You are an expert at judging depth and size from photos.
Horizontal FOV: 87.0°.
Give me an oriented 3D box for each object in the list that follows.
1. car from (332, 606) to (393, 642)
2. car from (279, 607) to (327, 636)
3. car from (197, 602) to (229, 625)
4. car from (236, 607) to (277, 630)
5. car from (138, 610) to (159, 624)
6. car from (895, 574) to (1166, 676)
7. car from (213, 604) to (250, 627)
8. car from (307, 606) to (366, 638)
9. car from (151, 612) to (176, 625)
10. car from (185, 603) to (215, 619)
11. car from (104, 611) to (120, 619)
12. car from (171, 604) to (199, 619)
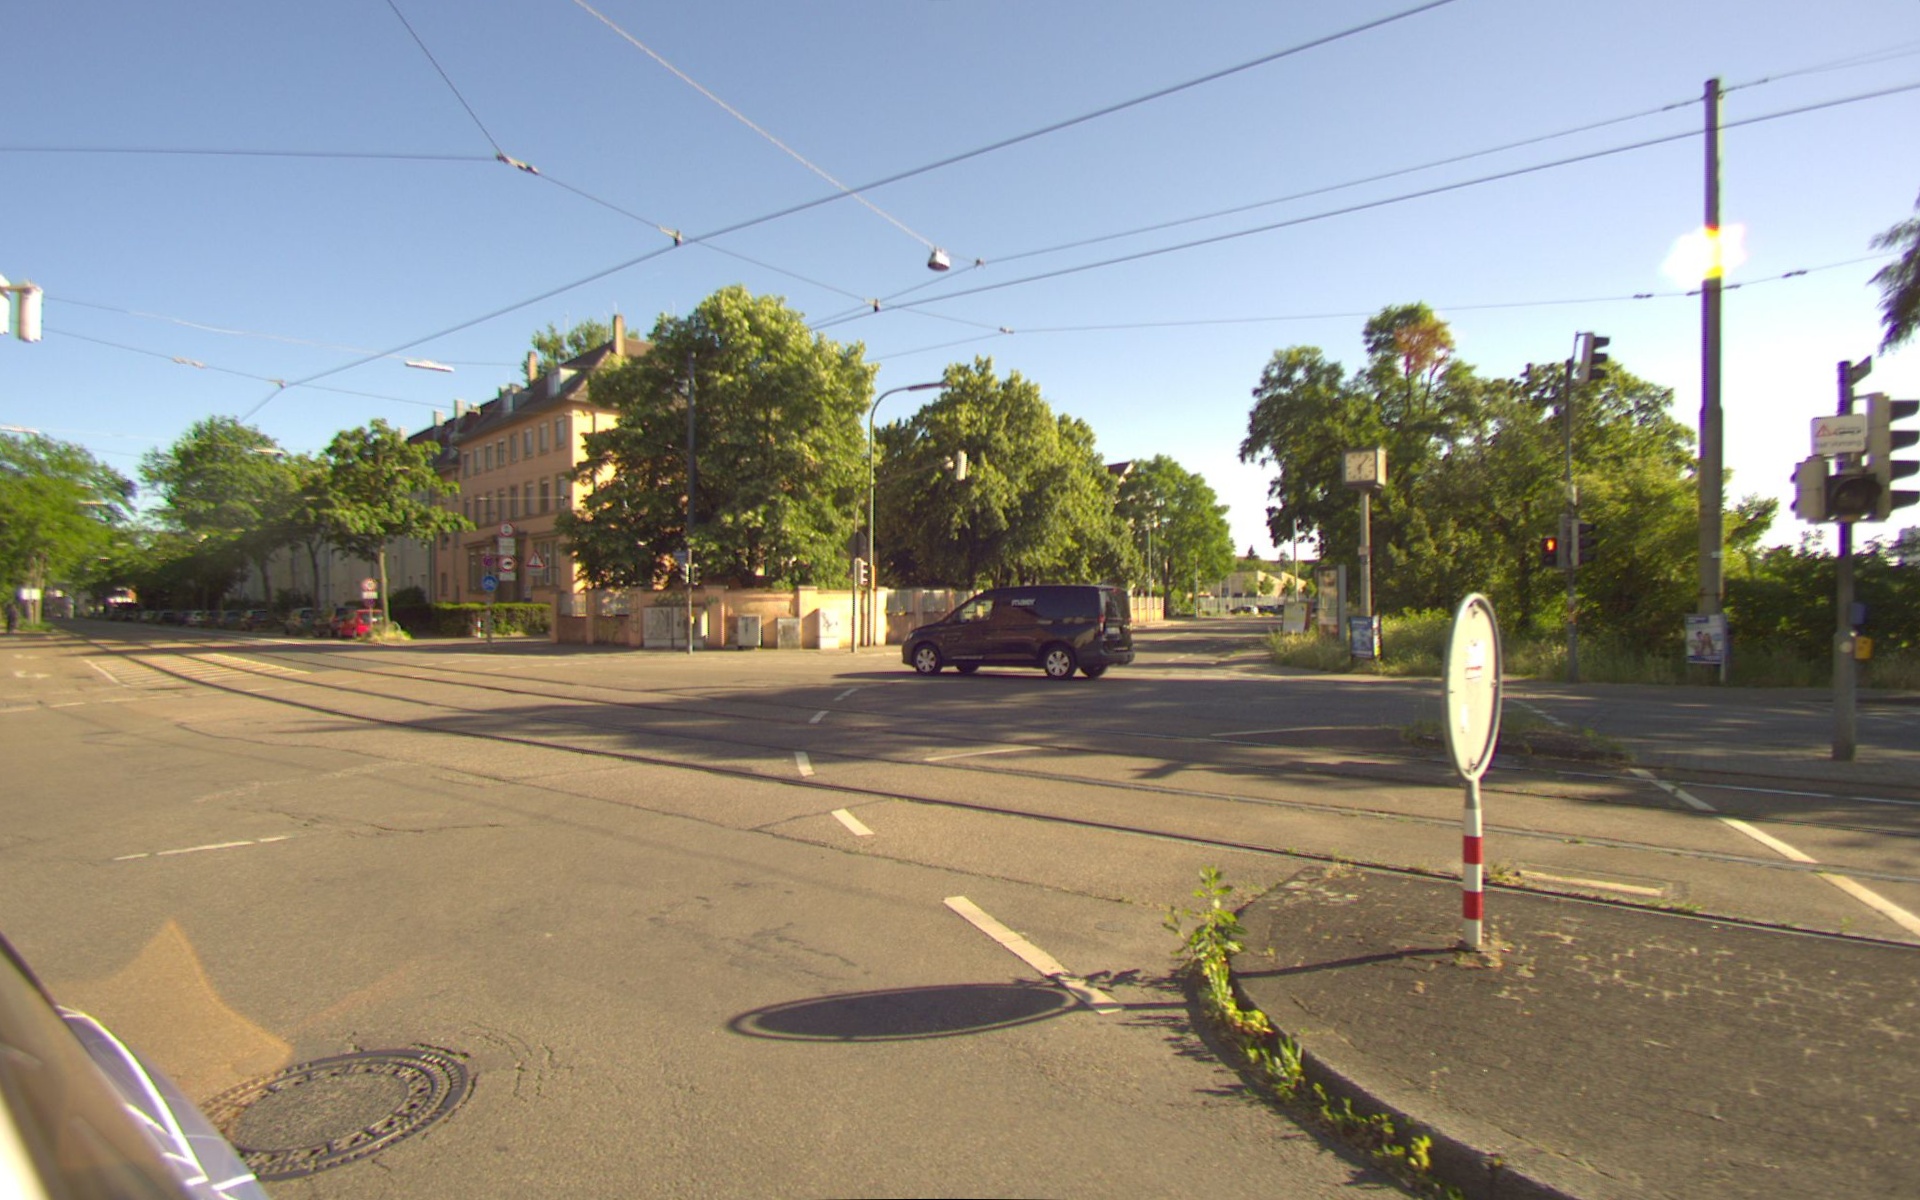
[{"bbox_3d":[-30.314,1.183,51.321,3.375,1.719,1.791,0,0,43],"label":"car"},{"bbox_3d":[-39.631,1.281,61.000,1.790,1.671,3.881,0,0,-43],"label":"car"},{"bbox_3d":[-65.104,1.150,88.182,3.632,1.955,1.791,0,0,45],"label":"car"},{"bbox_3d":[-50.630,1.313,72.833,3.632,1.611,1.791,0,0,45],"label":"car"},{"bbox_3d":[-105.146,2.171,131.118,3.632,1.792,1.791,0,0,45],"label":"car"},{"bbox_3d":[1.294,0.472,19.880,5.021,1.780,1.976,-1,-1,36],"label":"car"},{"bbox_3d":[-58.701,1.222,81.518,3.798,1.839,1.791,0,0,45],"label":"car"},{"bbox_3d":[-33.637,1.151,54.532,3.820,1.671,1.791,0,0,43],"label":"car"},{"bbox_3d":[-89.301,2.022,113.413,3.632,1.430,1.791,-1,0,45],"label":"car"},{"bbox_3d":[-71.447,1.050,95.077,3.632,1.430,1.791,0,0,45],"label":"car"},{"bbox_3d":[-143.901,2.568,171.791,3.632,1.430,1.791,-1,0,45],"label":"car"},{"bbox_3d":[-77.717,1.114,101.444,3.632,1.430,1.791,0,0,45],"label":"car"}]
